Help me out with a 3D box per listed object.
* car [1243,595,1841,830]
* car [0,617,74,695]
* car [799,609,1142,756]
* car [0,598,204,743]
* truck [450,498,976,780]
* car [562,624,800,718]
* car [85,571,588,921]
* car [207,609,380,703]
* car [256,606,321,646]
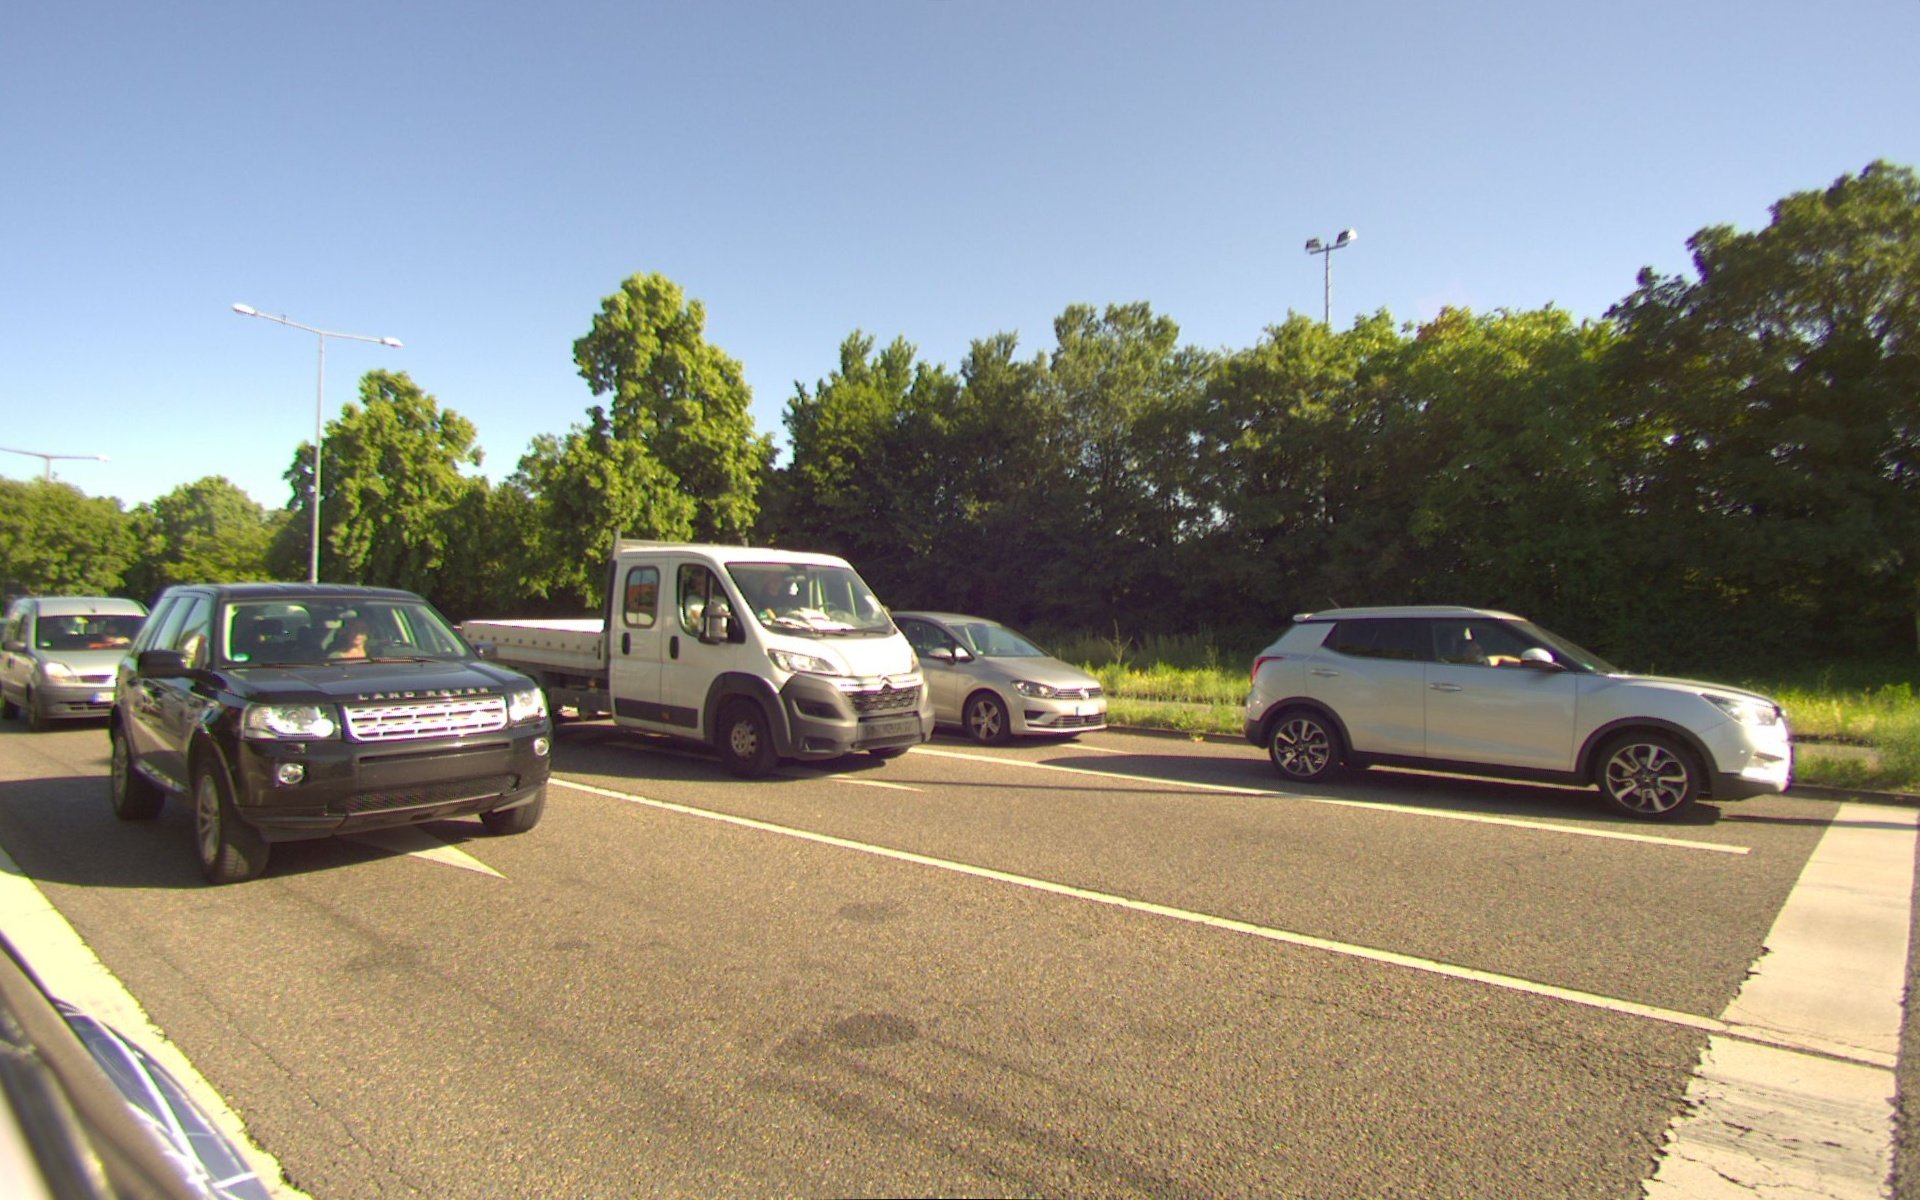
[{"bbox_3d":[4.814,0.809,8.768,4.192,1.549,1.812,-1,-3,41],"label":"car"},{"bbox_3d":[-20.188,1.129,21.262,4.364,1.497,1.894,-1,0,43],"label":"car"},{"bbox_3d":[0.023,0.950,13.041,4.241,1.587,1.854,-1,-2,41],"label":"car"},{"bbox_3d":[-12.420,0.880,14.391,4.364,1.741,1.894,-1,0,43],"label":"car"},{"bbox_3d":[-3.113,0.405,11.372,6.769,2.327,2.162,-1,-3,40],"label":"truck"},{"bbox_3d":[-4.876,1.132,17.380,4.352,1.415,1.812,-1,-2,41],"label":"car"},{"bbox_3d":[-4.542,0.748,7.066,4.390,1.697,1.802,-1,-2,42],"label":"car"},{"bbox_3d":[-12.154,0.935,18.360,4.000,1.512,1.704,-1,0,43],"label":"car"},{"bbox_3d":[-37.375,1.407,56.271,4.537,2.100,1.892,-1,0,41],"label":"car"}]
